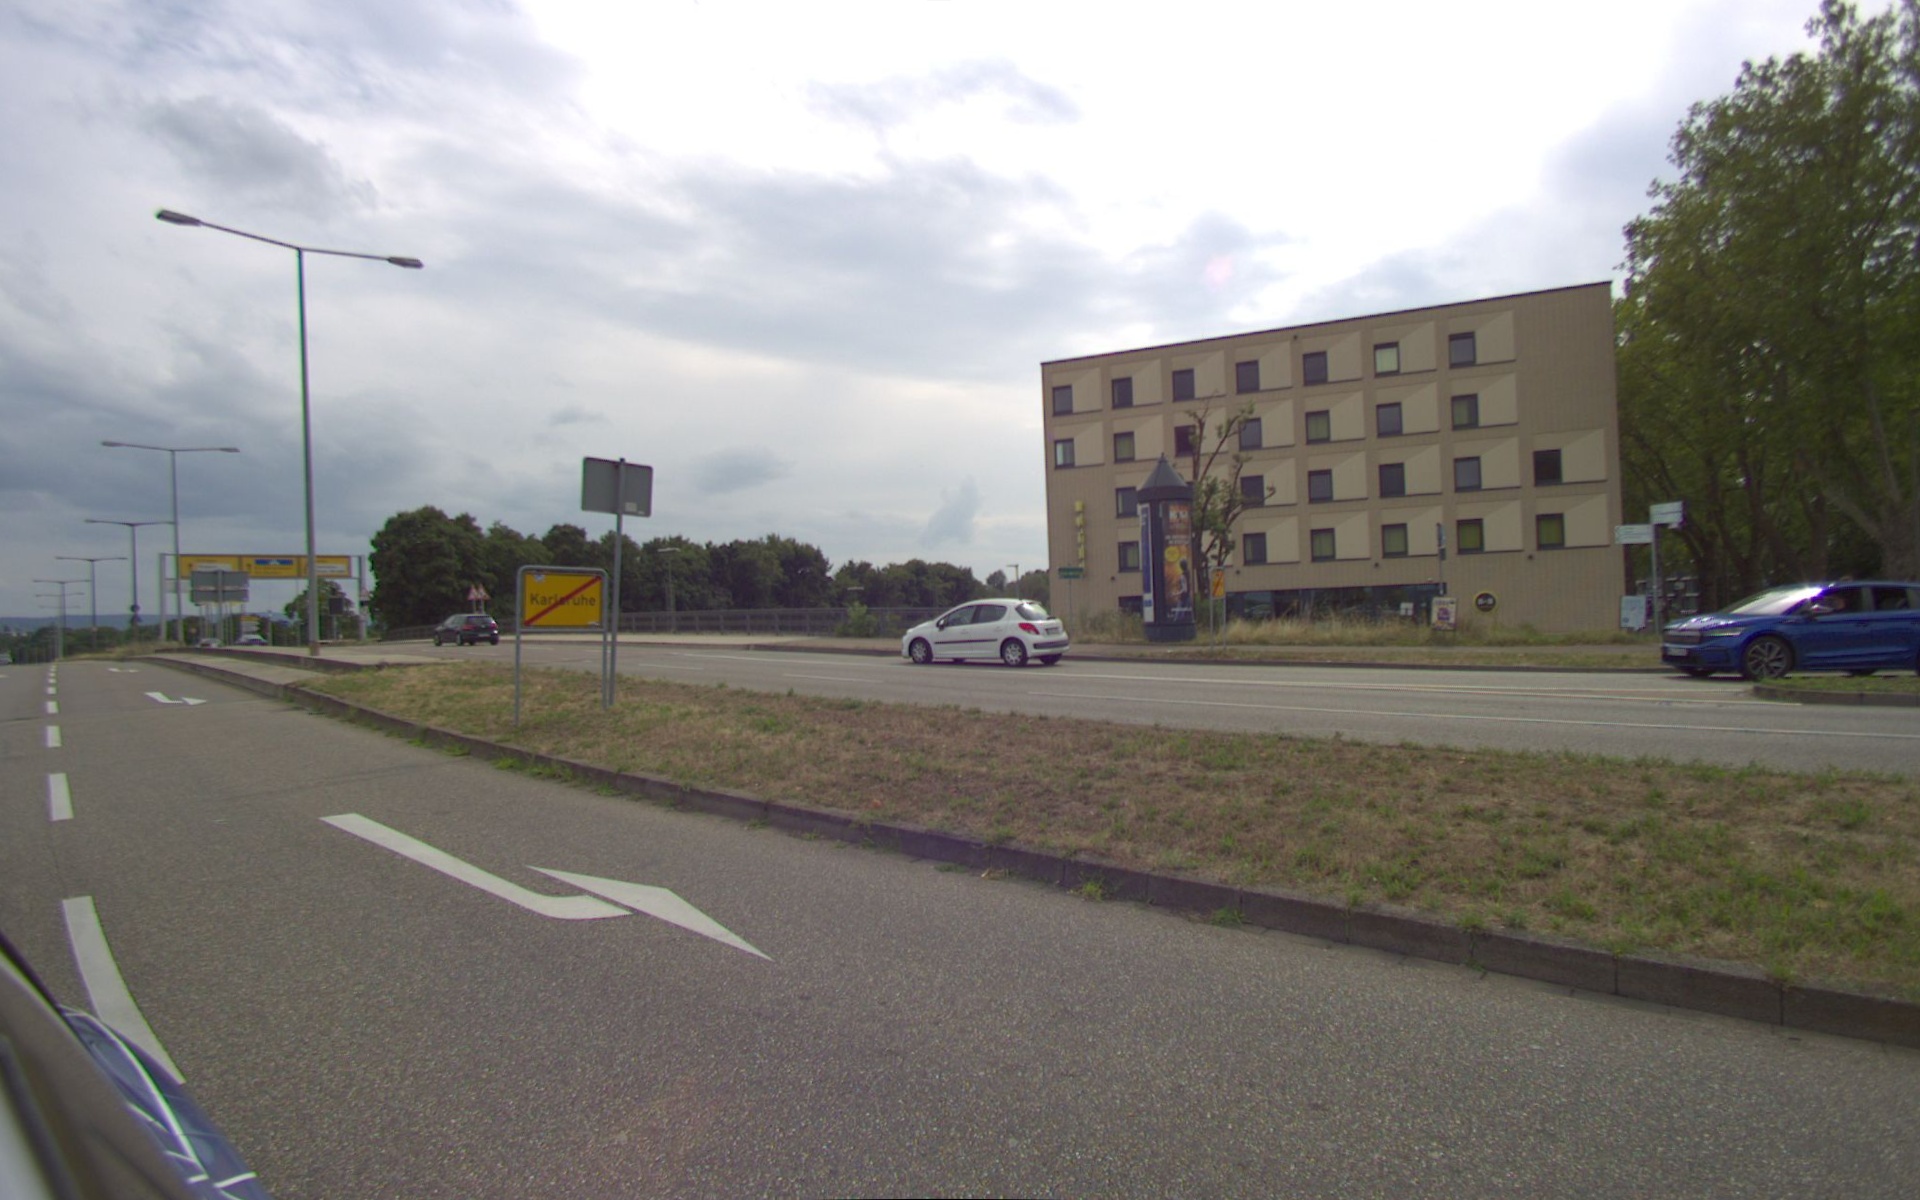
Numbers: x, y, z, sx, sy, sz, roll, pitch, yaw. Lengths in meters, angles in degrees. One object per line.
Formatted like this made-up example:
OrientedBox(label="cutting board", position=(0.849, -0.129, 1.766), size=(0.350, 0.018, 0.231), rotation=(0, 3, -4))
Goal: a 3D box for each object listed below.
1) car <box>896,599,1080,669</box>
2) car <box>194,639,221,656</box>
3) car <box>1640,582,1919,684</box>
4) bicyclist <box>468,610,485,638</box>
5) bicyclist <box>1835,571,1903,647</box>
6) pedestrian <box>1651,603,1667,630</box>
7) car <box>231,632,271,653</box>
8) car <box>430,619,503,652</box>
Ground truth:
OrientedBox(label="car", position=(0.595, 0.728, 22.856), size=(3.867, 1.456, 1.711), rotation=(-1, 0, 35))
OrientedBox(label="car", position=(-69.024, 4.329, 92.788), size=(1.597, 1.421, 3.864), rotation=(1, -2, -43))
OrientedBox(label="car", position=(14.192, 0.518, 16.786), size=(4.406, 1.572, 1.947), rotation=(-1, 0, 4))
OrientedBox(label="bicyclist", position=(-29.518, 1.449, 61.757), size=(0.676, 1.684, 0.848), rotation=(-1, -1, -42))
OrientedBox(label="bicyclist", position=(19.988, 0.204, 22.277), size=(0.735, 1.627, 0.916), rotation=(-2, -1, 16))
OrientedBox(label="pedestrian", position=(30.570, 0.726, 44.262), size=(0.500, 1.133, 0.458), rotation=(-2, -1, 32))
OrientedBox(label="car", position=(-55.358, 3.296, 79.016), size=(1.800, 1.457, 4.355), rotation=(-1, 0, -45))
OrientedBox(label="car", position=(-22.841, 1.623, 46.795), size=(4.001, 1.429, 1.772), rotation=(-2, -1, 44))
